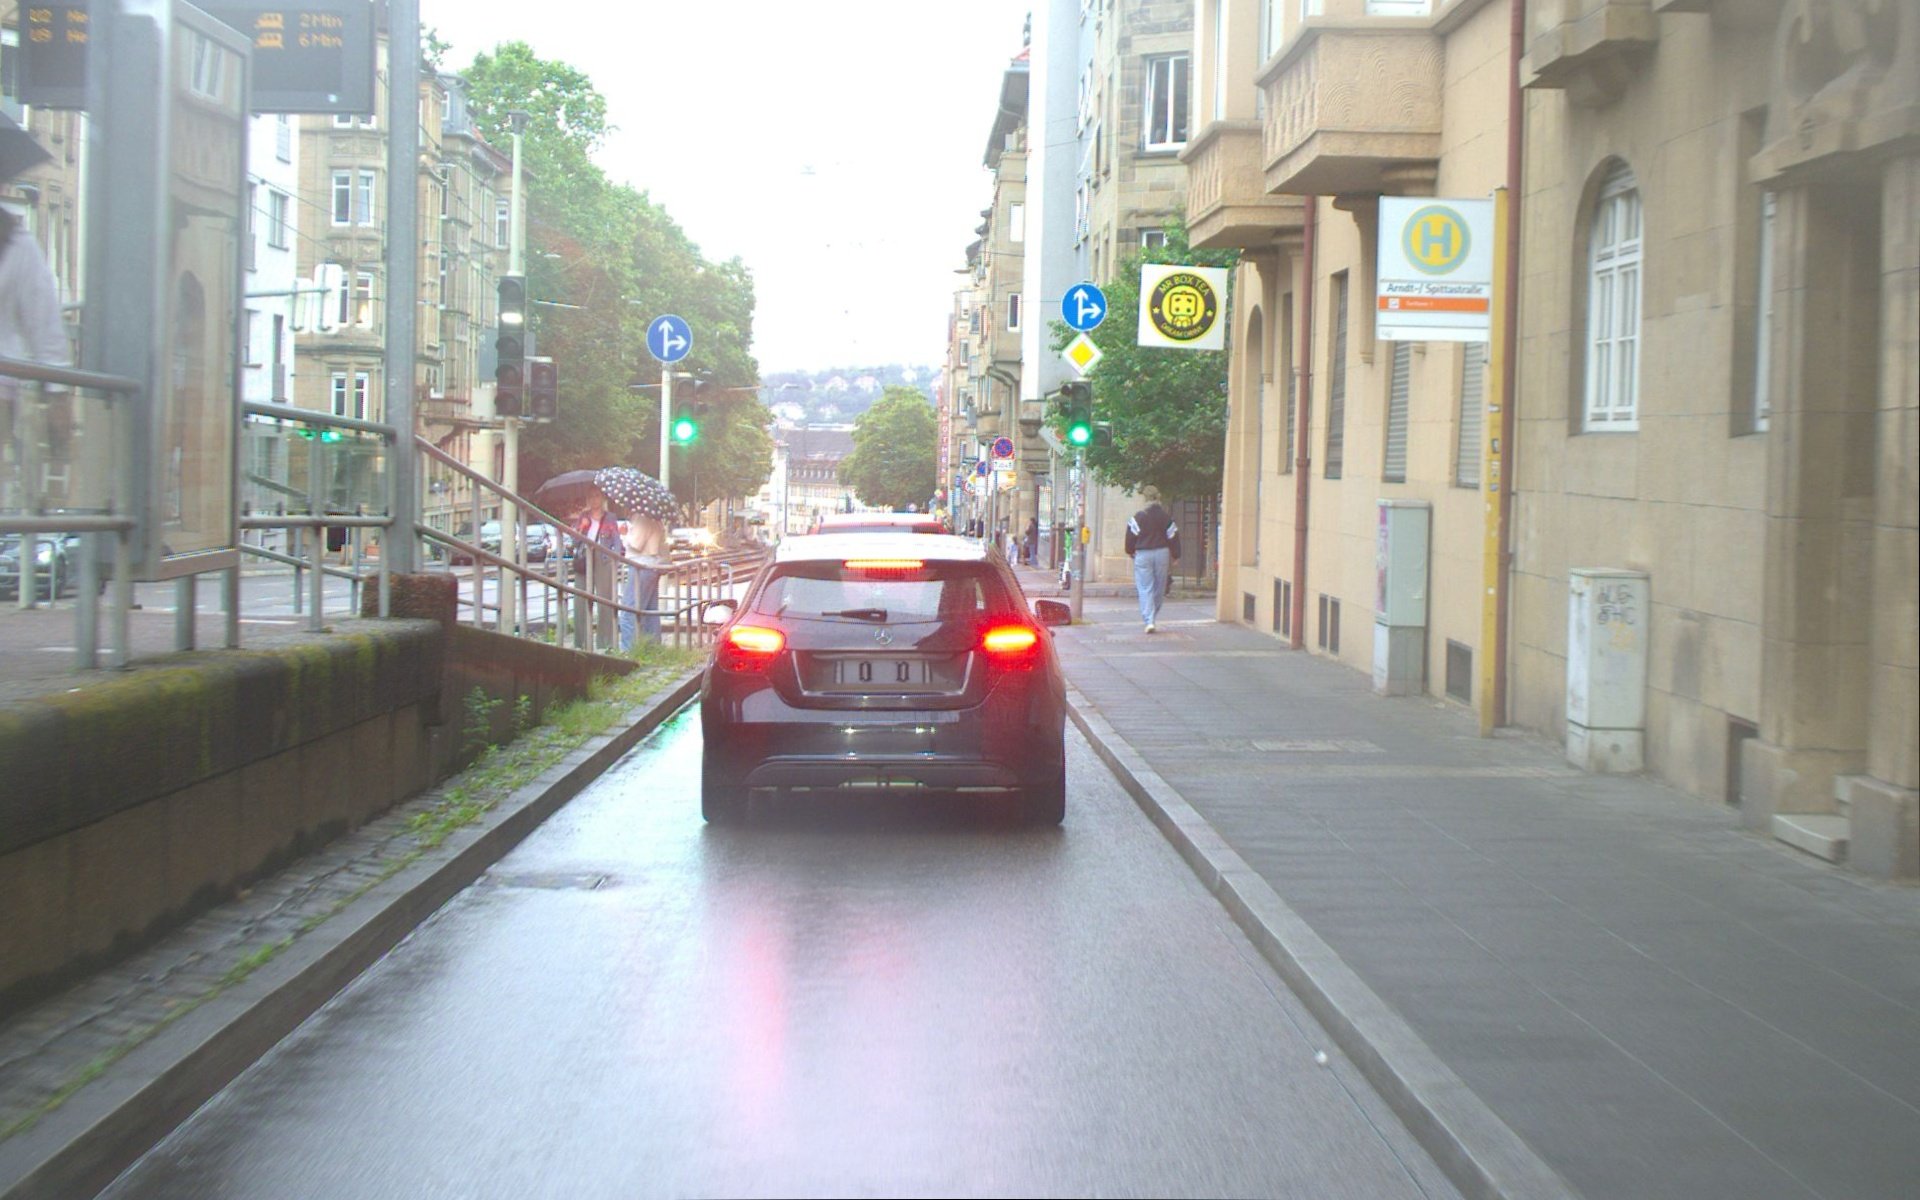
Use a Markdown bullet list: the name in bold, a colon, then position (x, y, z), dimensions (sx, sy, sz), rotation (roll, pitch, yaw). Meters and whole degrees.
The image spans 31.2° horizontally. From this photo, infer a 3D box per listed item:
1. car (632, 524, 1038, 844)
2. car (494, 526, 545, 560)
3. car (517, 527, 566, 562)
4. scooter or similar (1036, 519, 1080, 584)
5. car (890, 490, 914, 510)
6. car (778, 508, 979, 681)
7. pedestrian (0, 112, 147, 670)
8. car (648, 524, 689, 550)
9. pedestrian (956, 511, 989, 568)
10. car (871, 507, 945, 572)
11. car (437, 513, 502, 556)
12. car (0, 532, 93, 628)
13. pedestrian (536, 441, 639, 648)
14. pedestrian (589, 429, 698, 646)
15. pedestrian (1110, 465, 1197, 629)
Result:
- **car**: position (-0.552, 0.346, 17.982), dimensions (1.866, 1.447, 4.000), rotation (1, 1, 1)
- **car**: position (-17.714, -2.294, 138.369), dimensions (1.569, 1.312, 3.481), rotation (-1, 1, 1)
- **car**: position (-17.432, -2.323, 143.421), dimensions (1.569, 1.408, 3.481), rotation (-1, 1, 1)
- **scooter or similar**: position (1.848, -0.915, 64.702), dimensions (0.638, 1.206, 1.553), rotation (-1, 1, -5)
- **car**: position (-3.994, -6.881, 236.859), dimensions (1.613, 1.313, 4.000), rotation (2, 1, -1)
- **car**: position (-0.682, -0.098, 31.165), dimensions (1.649, 1.447, 4.000), rotation (1, 1, 1)
- **pedestrian**: position (-3.412, -0.684, 11.479), dimensions (1.114, 1.768, 1.111), rotation (1, 1, -1)
- **car**: position (-16.413, -3.551, 193.965), dimensions (1.948, 1.392, 4.274), rotation (-1, 1, 0)
- **pedestrian**: position (0.384, -1.873, 106.310), dimensions (0.945, 1.763, 1.015), rotation (0, 1, -3)
- **car**: position (-1.297, -1.509, 85.611), dimensions (1.765, 1.553, 4.746), rotation (0, 1, -1)
- **car**: position (-17.818, -2.389, 125.054), dimensions (1.722, 1.536, 3.934), rotation (-1, 1, 1)
- **car**: position (-15.853, -0.369, 57.317), dimensions (1.643, 1.491, 4.764), rotation (0, 1, -1)
- **pedestrian**: position (-3.690, -0.552, 34.118), dimensions (0.897, 2.007, 0.947), rotation (1, 1, -1)
- **pedestrian**: position (-2.998, -0.596, 32.644), dimensions (0.926, 2.007, 0.947), rotation (1, 1, -1)
- **pedestrian**: position (2.249, -0.616, 39.926), dimensions (0.899, 1.834, 0.968), rotation (-3, 1, 5)
